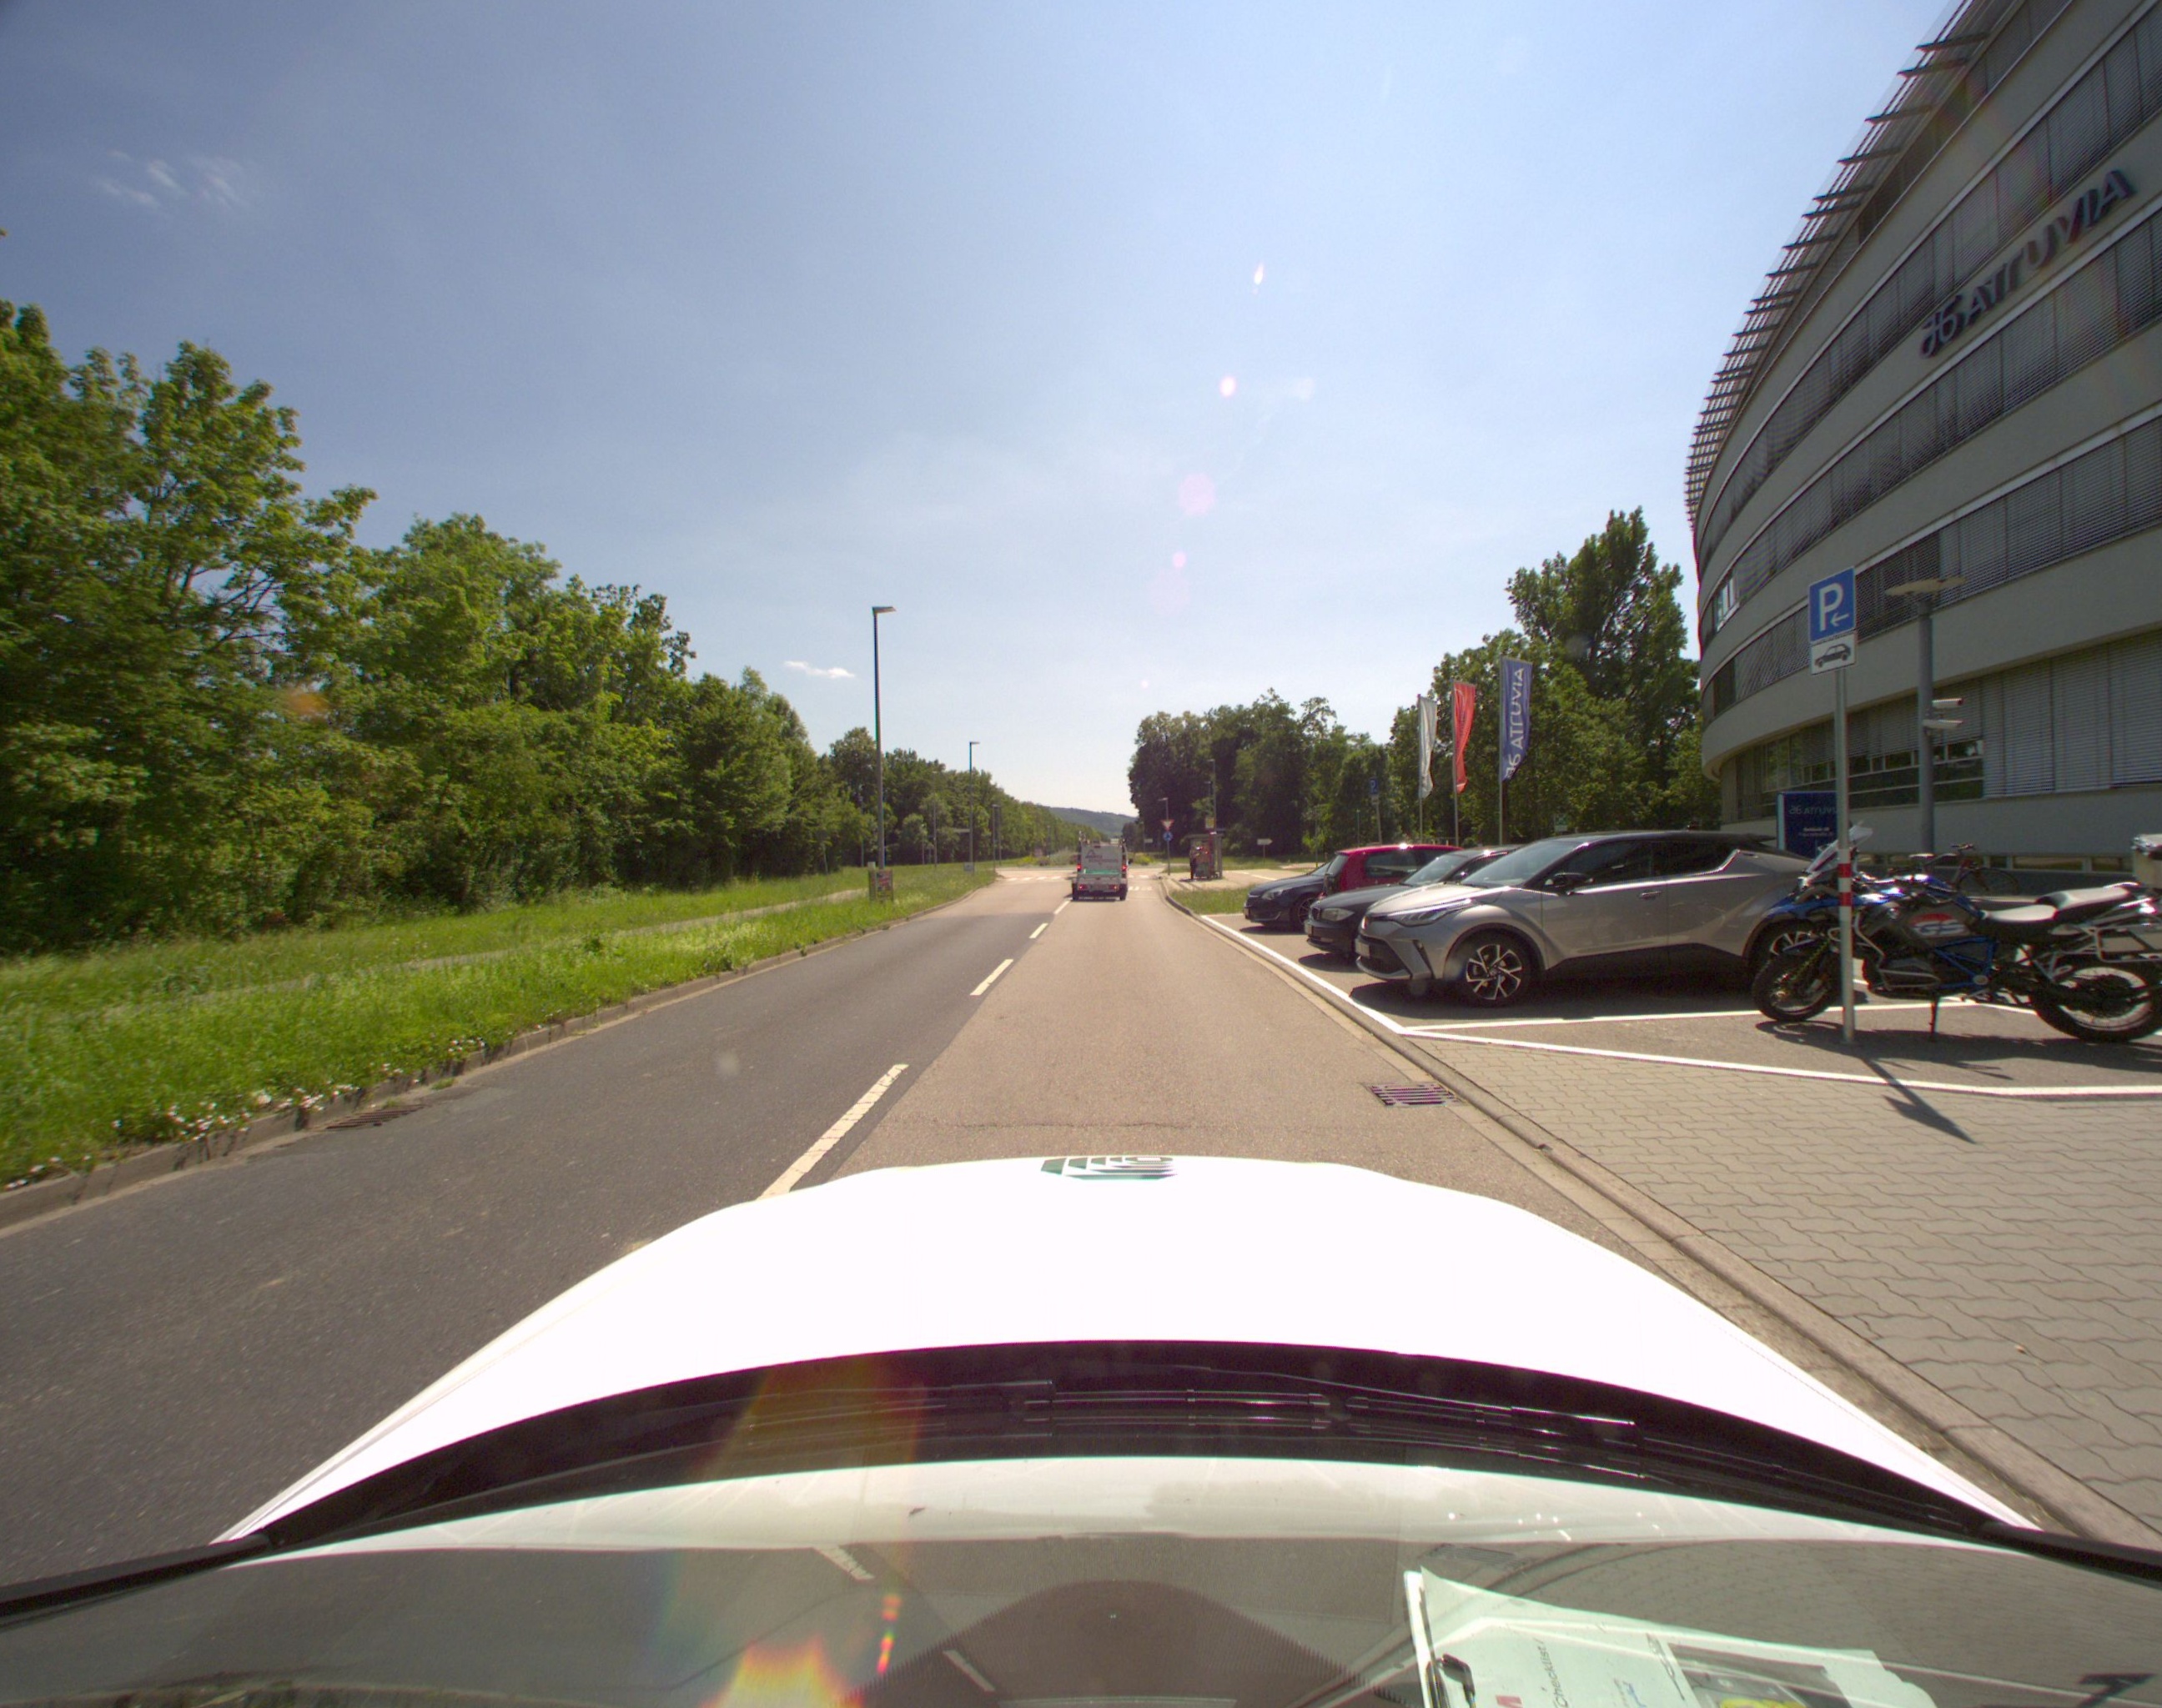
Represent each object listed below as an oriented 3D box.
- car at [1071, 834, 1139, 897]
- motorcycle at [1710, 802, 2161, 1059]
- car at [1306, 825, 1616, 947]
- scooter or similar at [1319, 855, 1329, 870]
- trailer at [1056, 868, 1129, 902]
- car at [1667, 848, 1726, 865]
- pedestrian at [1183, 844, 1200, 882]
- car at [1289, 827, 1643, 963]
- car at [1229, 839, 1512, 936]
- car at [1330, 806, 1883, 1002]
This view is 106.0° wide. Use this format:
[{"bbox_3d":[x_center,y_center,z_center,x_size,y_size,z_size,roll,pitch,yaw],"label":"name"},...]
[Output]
[{"bbox_3d":[1.048,0.442,32.293,2.154,2.316,4.992,0,0,8],"label":"car"},{"bbox_3d":[6.032,0.470,5.666,2.414,1.497,1.233,-3,0,29],"label":"motorcycle"},{"bbox_3d":[5.723,0.480,12.714,3.968,1.655,1.841,-2,-1,4],"label":"car"},{"bbox_3d":[19.842,0.684,66.372,0.442,1.201,1.407,-1,-1,31],"label":"scooter or similar"},{"bbox_3d":[0.465,1.034,28.146,2.110,1.097,3.361,0,0,7],"label":"trailer"},{"bbox_3d":[55.741,0.201,73.778,3.965,1.485,1.707,0,2,8],"label":"car"},{"bbox_3d":[5.463,0.453,40.350,0.705,1.822,0.827,-3,-1,3],"label":"pedestrian"},{"bbox_3d":[4.797,0.509,10.589,3.790,1.486,1.658,-2,-1,4],"label":"car"},{"bbox_3d":[5.205,0.592,15.100,4.550,1.432,1.828,-3,-1,1],"label":"car"},{"bbox_3d":[4.921,0.465,8.161,4.302,1.563,1.788,-3,-1,3],"label":"car"}]
